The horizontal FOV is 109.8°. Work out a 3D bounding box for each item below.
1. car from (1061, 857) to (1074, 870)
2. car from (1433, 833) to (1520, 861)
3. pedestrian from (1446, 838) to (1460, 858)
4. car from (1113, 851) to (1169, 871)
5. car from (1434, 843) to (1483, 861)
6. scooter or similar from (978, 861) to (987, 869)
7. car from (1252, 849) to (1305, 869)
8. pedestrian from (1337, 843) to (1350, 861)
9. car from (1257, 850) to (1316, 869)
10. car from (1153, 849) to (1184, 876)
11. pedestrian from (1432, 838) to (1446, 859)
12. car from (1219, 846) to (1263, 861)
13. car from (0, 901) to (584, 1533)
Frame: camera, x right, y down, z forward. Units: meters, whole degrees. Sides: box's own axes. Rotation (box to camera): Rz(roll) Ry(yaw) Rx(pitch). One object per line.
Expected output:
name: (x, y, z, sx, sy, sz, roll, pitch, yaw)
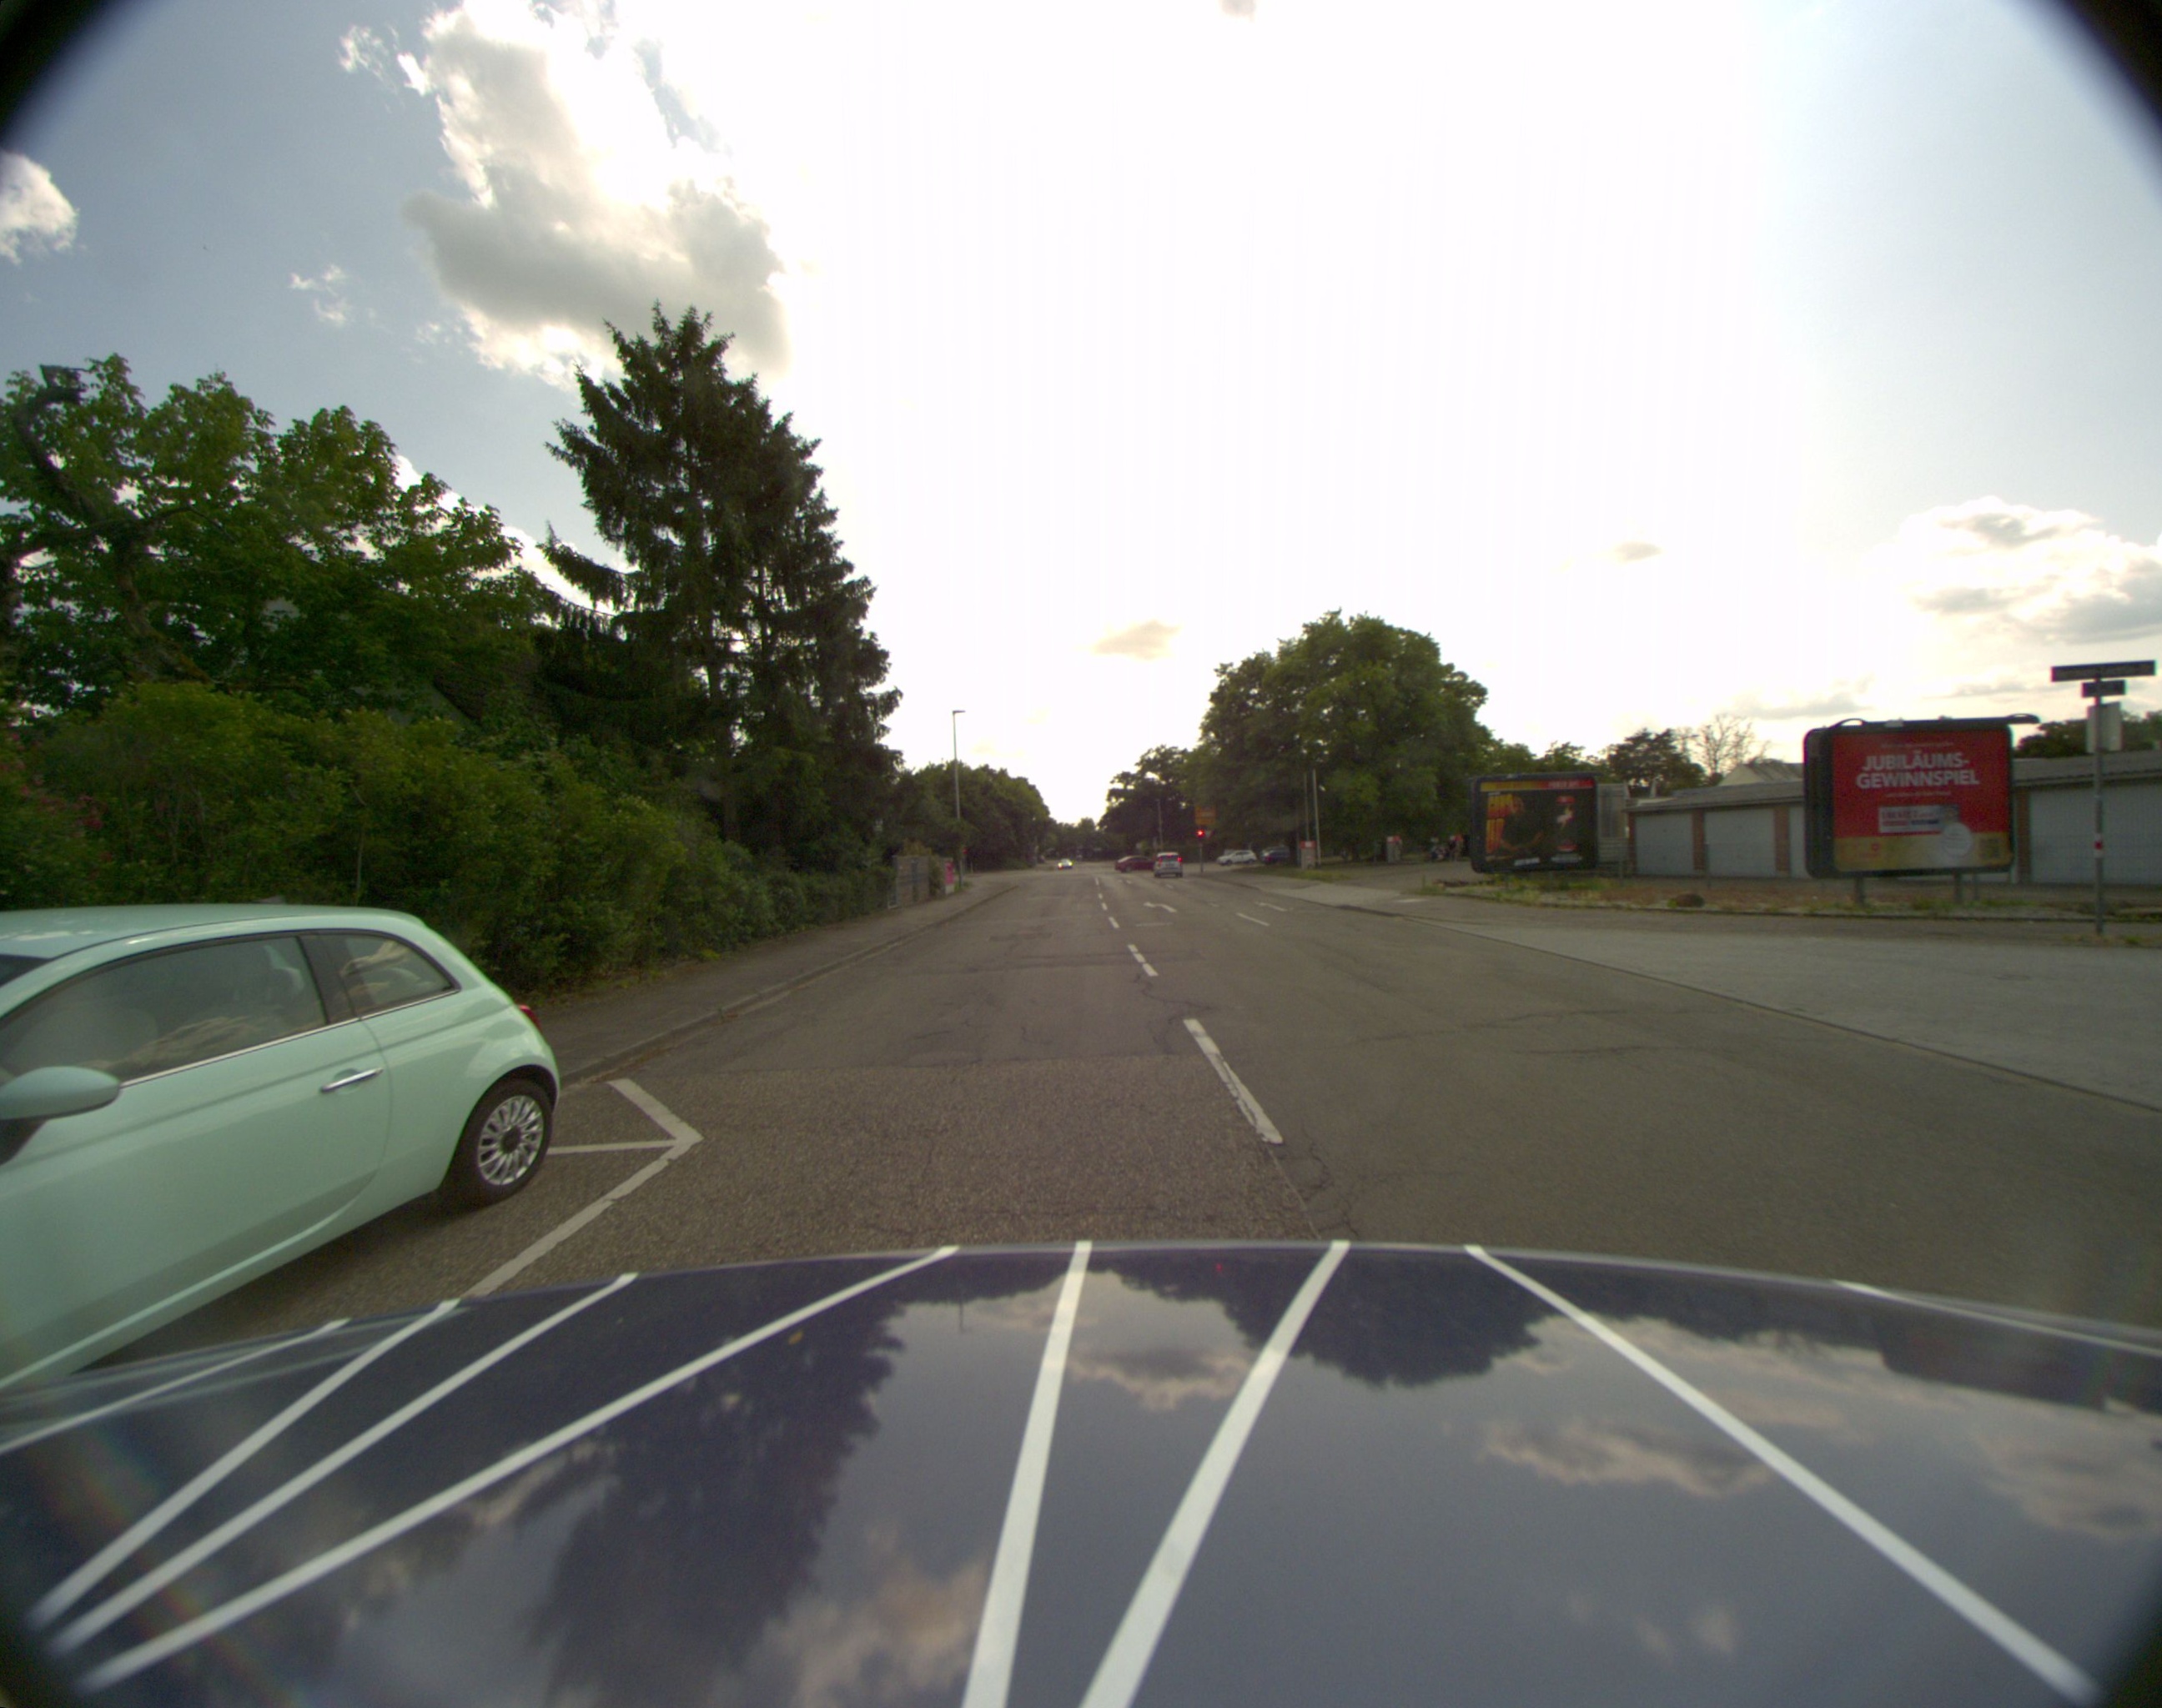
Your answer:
car: (-1.808, 1.243, 101.895, 1.730, 1.421, 3.998, -2, 2, -1)
car: (24.995, -0.416, 48.199, 2.156, 1.586, 4.556, -2, 0, -22)
pedestrian: (21.882, -0.359, 44.658, 0.643, 1.183, 0.767, 0, 3, 34)
car: (5.217, 0.570, 66.255, 4.536, 1.454, 1.726, -2, 2, -12)
car: (38.095, -0.218, 76.708, 4.361, 1.610, 1.702, -3, 2, -12)
scooter or similar: (-11.919, 1.344, 91.751, 1.036, 0.937, 0.296, -2, 3, -5)
car: (18.958, 0.434, 72.934, 4.551, 1.736, 1.816, -2, 1, -12)
pedestrian: (22.956, -0.175, 66.508, 0.760, 1.523, 0.726, -3, 1, -28)
car: (18.812, 0.509, 69.510, 4.874, 1.488, 1.800, -2, 2, -12)
car: (5.472, 0.502, 47.803, 1.558, 1.508, 3.609, -3, 0, 1)
pedestrian: (20.973, -0.325, 44.496, 0.643, 1.248, 0.767, 0, 3, 34)
car: (17.984, -0.102, 85.510, 4.536, 1.454, 1.727, -3, 1, -12)
car: (-3.647, 1.059, 2.380, 1.585, 1.511, 3.755, -3, 0, 1)
